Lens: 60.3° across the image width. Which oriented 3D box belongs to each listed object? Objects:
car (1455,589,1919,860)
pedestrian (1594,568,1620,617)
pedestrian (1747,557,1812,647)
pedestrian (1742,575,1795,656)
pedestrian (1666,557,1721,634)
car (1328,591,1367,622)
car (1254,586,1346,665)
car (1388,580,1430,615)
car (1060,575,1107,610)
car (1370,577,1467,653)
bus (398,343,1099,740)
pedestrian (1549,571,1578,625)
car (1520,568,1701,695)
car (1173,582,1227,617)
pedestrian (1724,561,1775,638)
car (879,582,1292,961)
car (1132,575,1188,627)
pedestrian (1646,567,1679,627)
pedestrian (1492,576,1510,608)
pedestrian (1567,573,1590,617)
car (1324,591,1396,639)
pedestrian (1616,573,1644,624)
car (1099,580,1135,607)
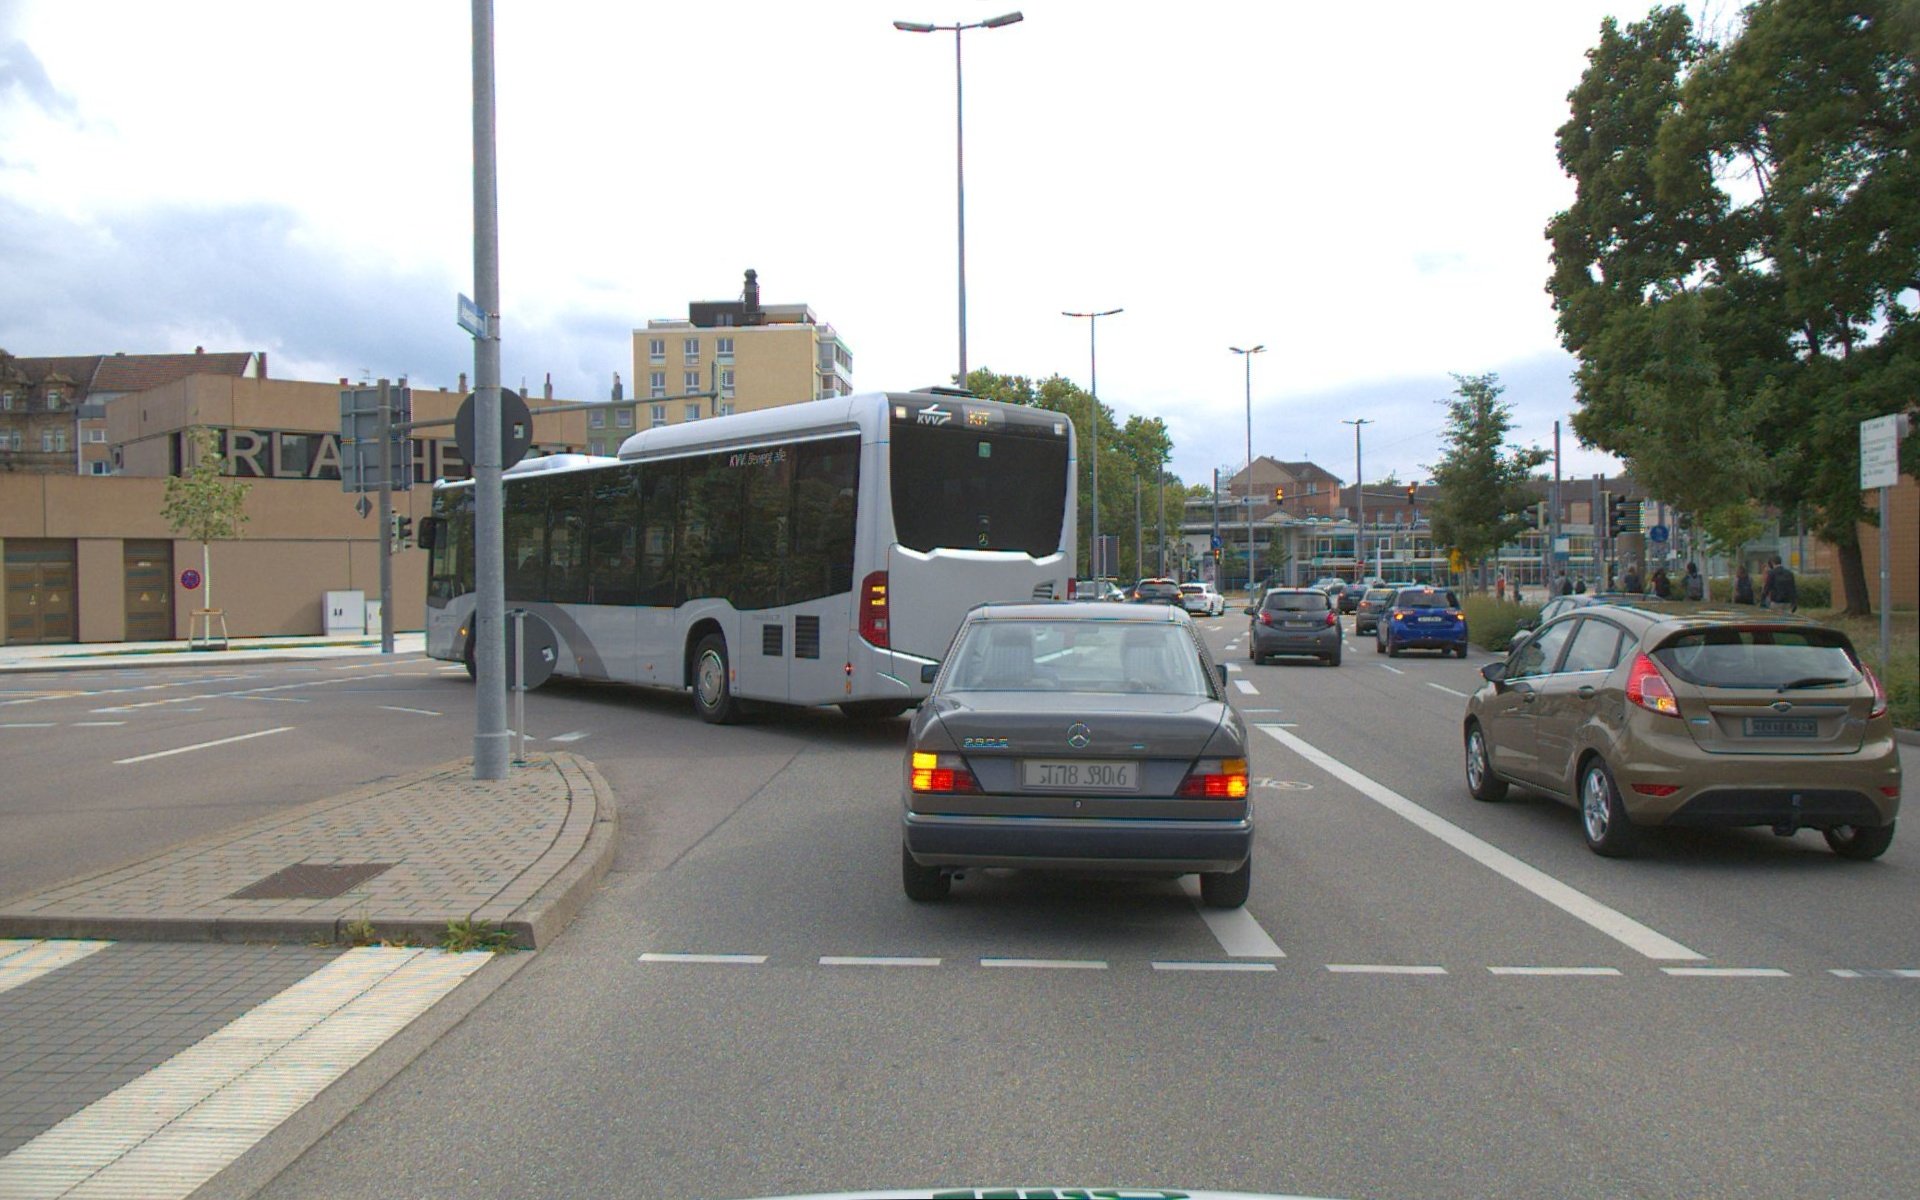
[{"bbox_3d":[4.556,0.673,10.721,1.660,1.429,3.700,1,0,1],"label":"car"},{"bbox_3d":[21.722,-0.250,55.554,0.762,1.601,0.812,-2,0,21],"label":"pedestrian"},{"bbox_3d":[16.338,0.039,33.011,0.762,1.741,1.027,1,0,-1],"label":"pedestrian"},{"bbox_3d":[17.744,0.342,36.314,0.762,1.741,0.812,1,0,-2],"label":"pedestrian"},{"bbox_3d":[16.790,-0.104,37.881,0.762,1.741,1.027,1,0,-1],"label":"pedestrian"},{"bbox_3d":[18.732,0.331,79.837,1.674,1.445,4.003,1,0,15],"label":"car"},{"bbox_3d":[6.748,0.485,32.977,1.674,1.445,4.003,1,0,11],"label":"car"},{"bbox_3d":[19.136,-0.107,70.488,1.667,1.445,3.703,1,0,15],"label":"car"},{"bbox_3d":[6.270,-0.350,83.474,1.951,1.680,4.516,1,0,9],"label":"car"},{"bbox_3d":[10.153,0.327,36.819,1.818,1.559,4.005,1,0,12],"label":"car"},{"bbox_3d":[-3.757,-0.415,21.112,2.682,3.498,14.009,-2,0,-35],"label":"bus"},{"bbox_3d":[18.232,-0.062,49.980,0.762,1.601,0.812,-2,0,21],"label":"pedestrian"},{"bbox_3d":[8.606,0.396,22.159,1.630,1.534,3.637,1,0,11],"label":"car"},{"bbox_3d":[10.590,-0.014,72.721,1.675,1.445,4.002,1,0,18],"label":"car"},{"bbox_3d":[18.161,-0.015,38.074,0.762,1.741,0.812,1,0,-2],"label":"pedestrian"},{"bbox_3d":[0.720,0.699,8.958,1.659,1.506,4.419,1,0,6],"label":"car"},{"bbox_3d":[6.739,0.038,55.824,1.795,1.643,3.549,1,0,7],"label":"car"},{"bbox_3d":[19.151,-0.085,45.099,0.762,1.601,0.812,-2,0,21],"label":"pedestrian"},{"bbox_3d":[27.180,-0.409,83.038,0.762,1.601,0.812,-2,0,21],"label":"pedestrian"},{"bbox_3d":[23.391,-0.197,62.527,0.762,1.601,0.812,-2,0,21],"label":"pedestrian"},{"bbox_3d":[12.612,0.466,52.010,2.087,1.445,3.703,1,0,15],"label":"car"},{"bbox_3d":[21.654,-0.057,53.449,0.762,1.601,0.812,-2,0,21],"label":"pedestrian"},{"bbox_3d":[10.188,-0.384,106.944,1.951,1.680,4.516,1,0,9],"label":"car"}]
